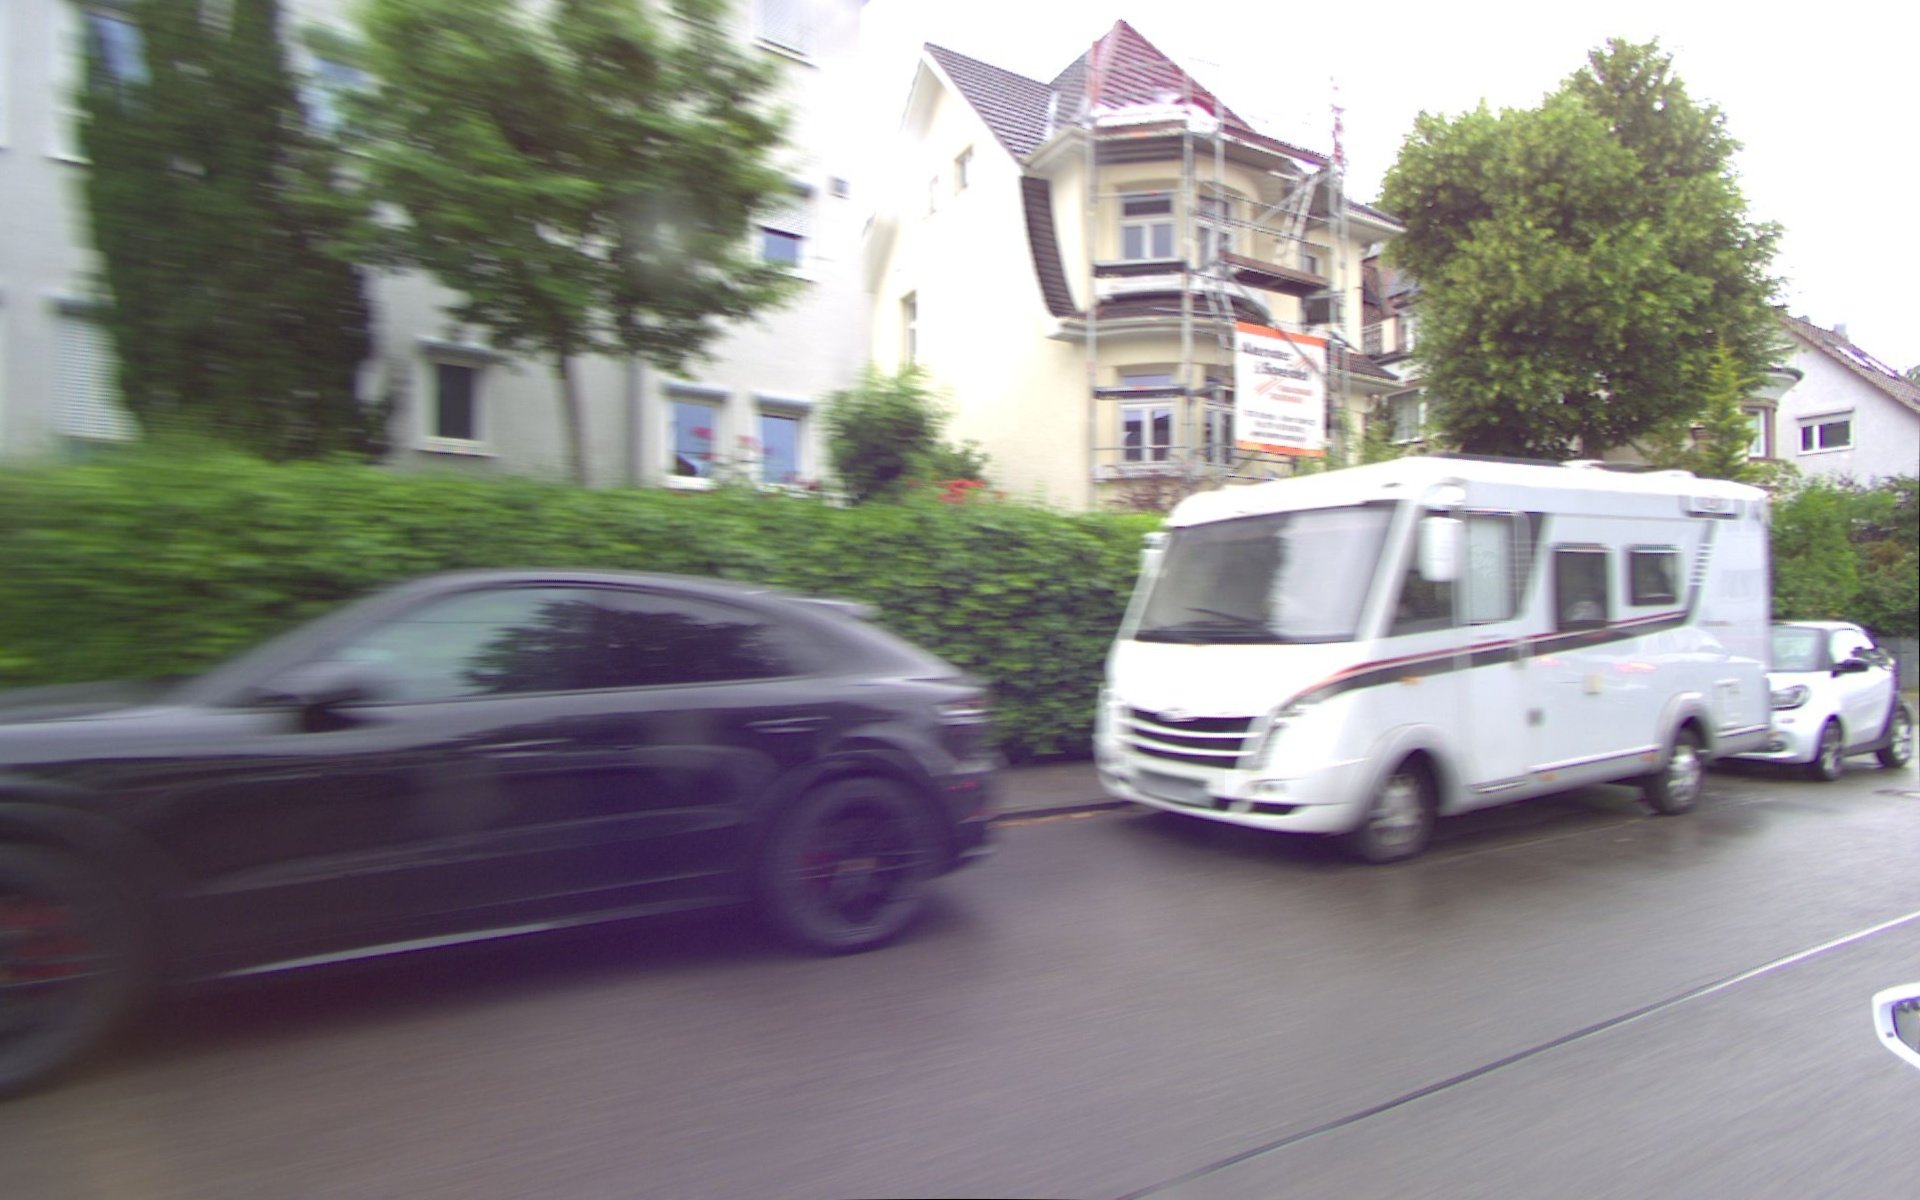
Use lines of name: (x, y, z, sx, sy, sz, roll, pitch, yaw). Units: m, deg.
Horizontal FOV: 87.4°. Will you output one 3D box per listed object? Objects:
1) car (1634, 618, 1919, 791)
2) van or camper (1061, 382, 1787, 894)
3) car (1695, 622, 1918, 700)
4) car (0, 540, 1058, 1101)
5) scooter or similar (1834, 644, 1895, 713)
car: (9.040, 1.025, 10.909, 3.279, 1.616, 1.587, 1, -2, -30)
van or camper: (3.914, 0.283, 8.019, 6.048, 2.761, 2.336, 1, -2, -32)
car: (19.318, 1.363, 23.130, 1.680, 1.561, 3.585, -3, -2, -12)
car: (-1.996, 0.685, 4.421, 4.691, 1.616, 1.823, 1, -2, -30)
scooter or similar: (16.386, 1.401, 18.189, 1.125, 1.204, 0.400, 1, 0, -24)
